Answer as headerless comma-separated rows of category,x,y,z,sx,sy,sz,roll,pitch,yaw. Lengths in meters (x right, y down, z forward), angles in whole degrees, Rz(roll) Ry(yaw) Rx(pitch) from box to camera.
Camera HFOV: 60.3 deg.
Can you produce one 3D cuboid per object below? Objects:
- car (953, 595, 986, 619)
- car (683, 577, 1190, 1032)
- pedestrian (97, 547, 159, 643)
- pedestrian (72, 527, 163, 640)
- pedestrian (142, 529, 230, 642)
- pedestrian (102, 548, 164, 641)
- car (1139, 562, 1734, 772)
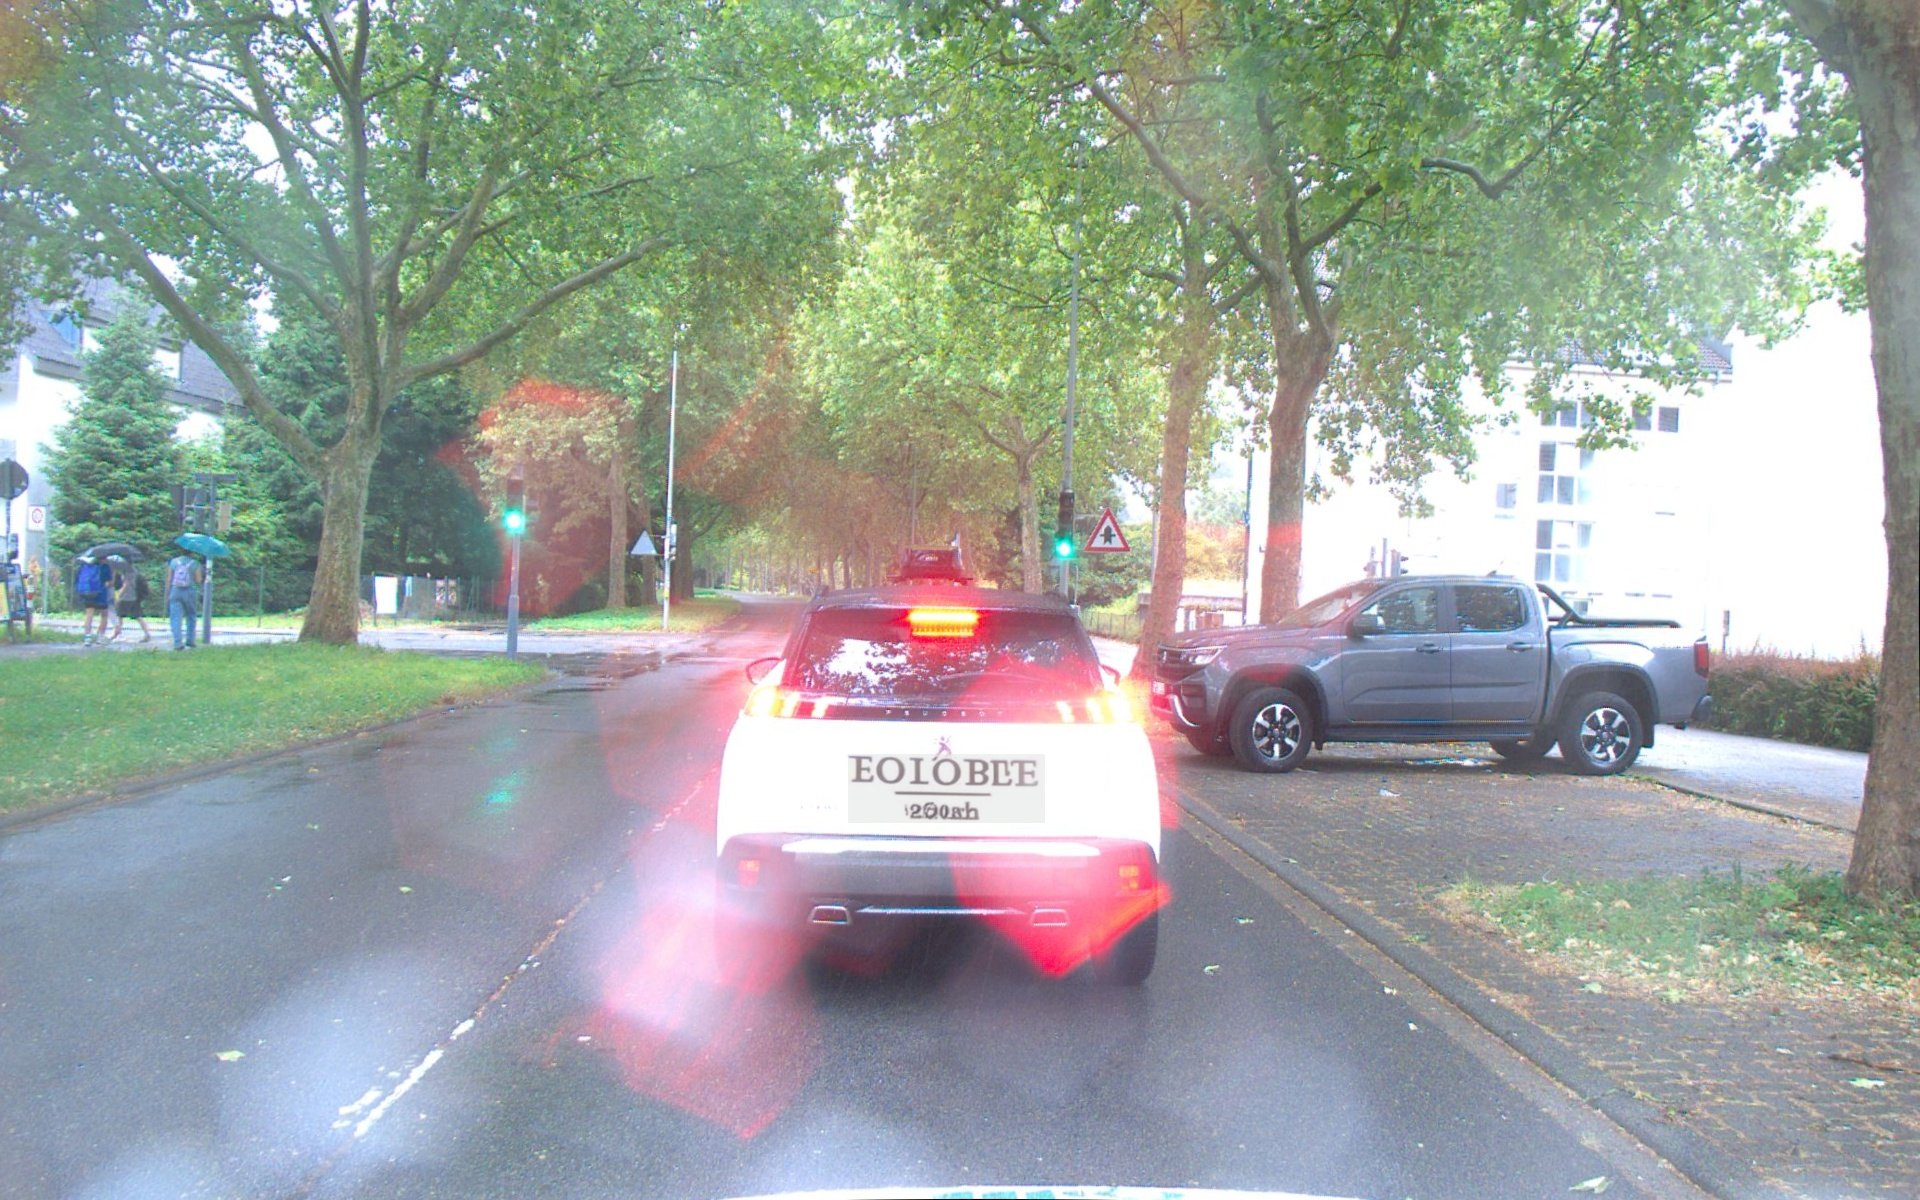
car,0.614,0.474,111.753,1.868,1.536,3.927,2,0,-5
car,-0.121,0.705,7.833,1.744,1.563,4.056,1,0,-1
pedestrian,-15.831,-0.101,31.469,0.804,1.775,0.639,2,0,-4
pedestrian,-13.821,-0.269,27.148,1.012,1.796,0.879,1,0,-1
pedestrian,-12.698,-0.233,27.155,1.012,1.796,0.838,1,0,-1
pedestrian,-16.224,-0.114,32.445,0.842,1.775,0.639,2,0,-4
car,4.513,0.632,16.009,5.238,1.838,1.842,1,0,-8
